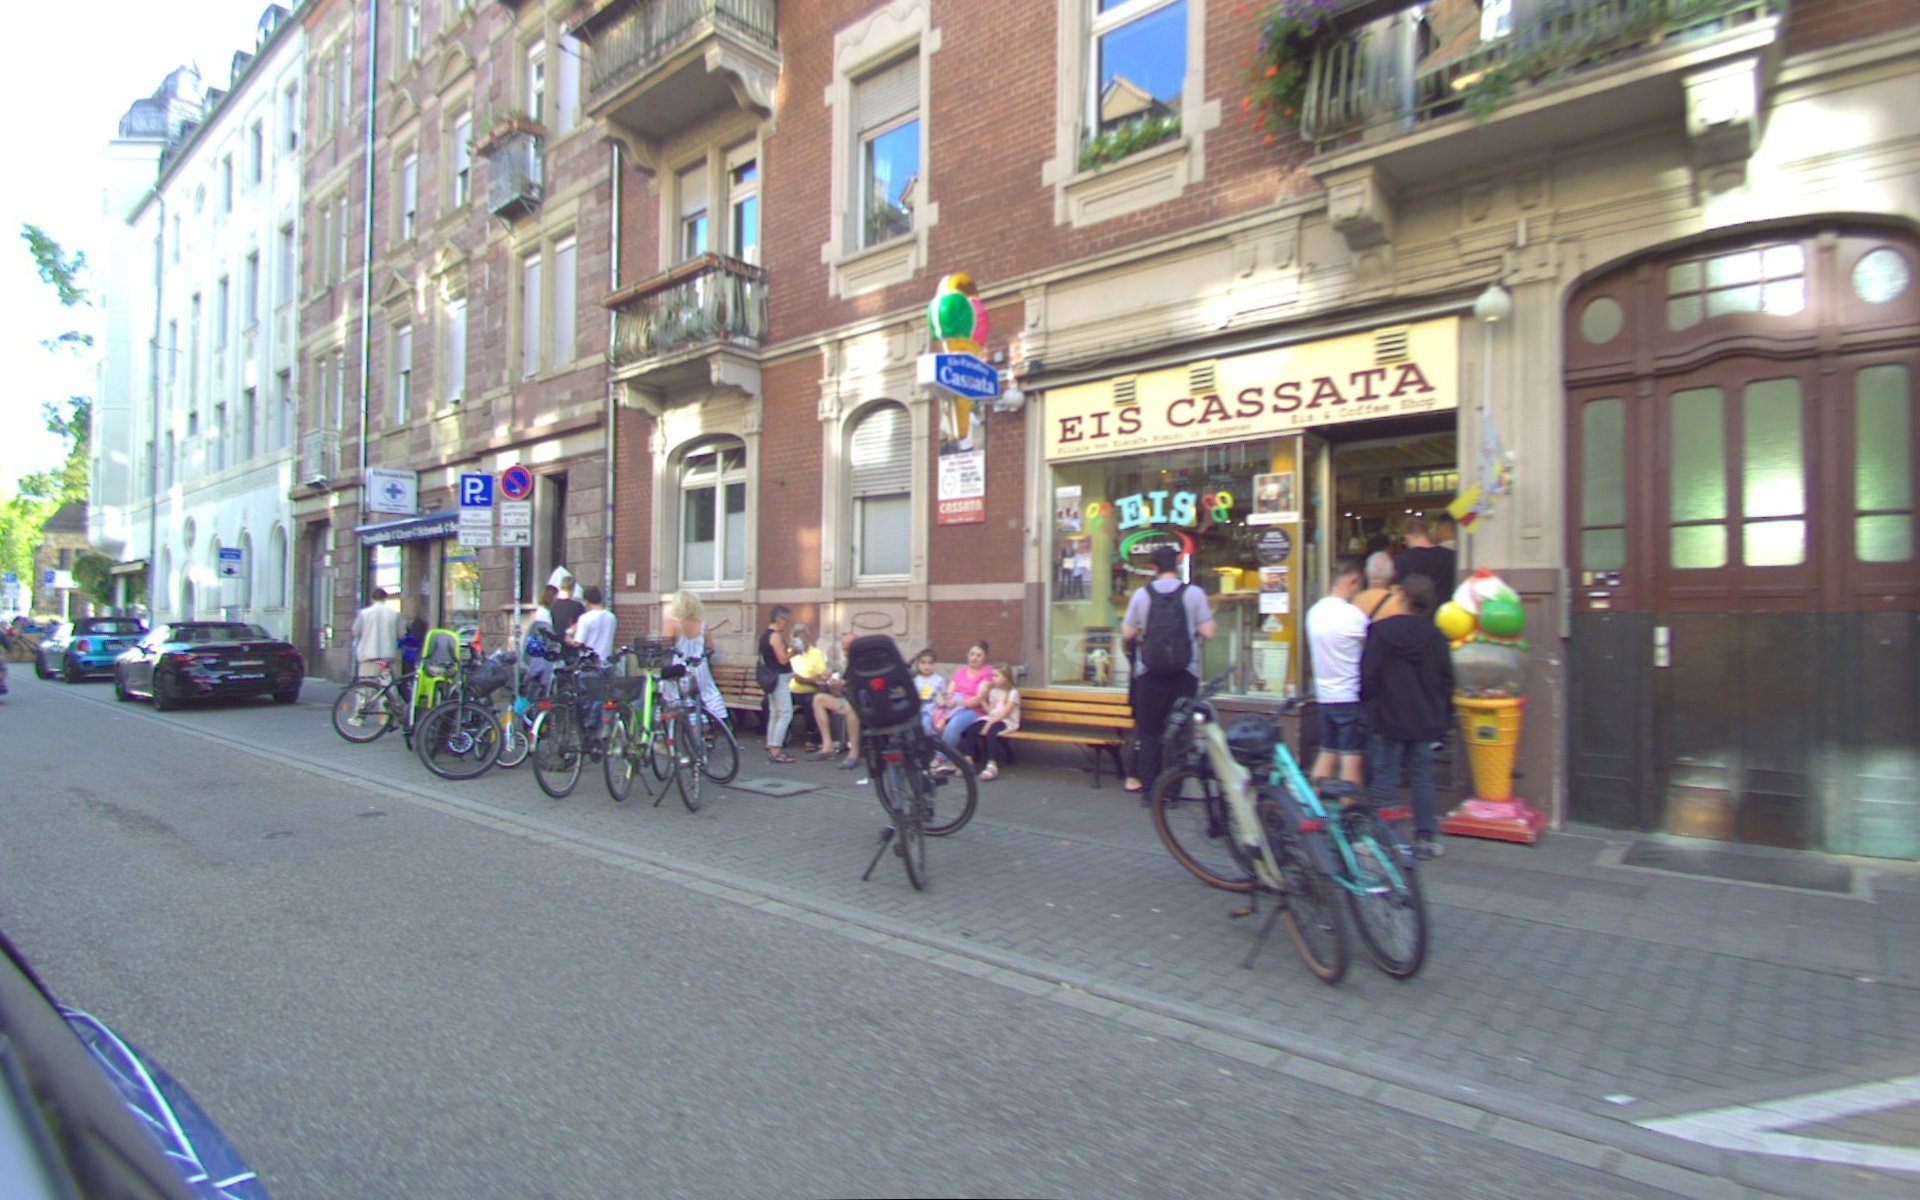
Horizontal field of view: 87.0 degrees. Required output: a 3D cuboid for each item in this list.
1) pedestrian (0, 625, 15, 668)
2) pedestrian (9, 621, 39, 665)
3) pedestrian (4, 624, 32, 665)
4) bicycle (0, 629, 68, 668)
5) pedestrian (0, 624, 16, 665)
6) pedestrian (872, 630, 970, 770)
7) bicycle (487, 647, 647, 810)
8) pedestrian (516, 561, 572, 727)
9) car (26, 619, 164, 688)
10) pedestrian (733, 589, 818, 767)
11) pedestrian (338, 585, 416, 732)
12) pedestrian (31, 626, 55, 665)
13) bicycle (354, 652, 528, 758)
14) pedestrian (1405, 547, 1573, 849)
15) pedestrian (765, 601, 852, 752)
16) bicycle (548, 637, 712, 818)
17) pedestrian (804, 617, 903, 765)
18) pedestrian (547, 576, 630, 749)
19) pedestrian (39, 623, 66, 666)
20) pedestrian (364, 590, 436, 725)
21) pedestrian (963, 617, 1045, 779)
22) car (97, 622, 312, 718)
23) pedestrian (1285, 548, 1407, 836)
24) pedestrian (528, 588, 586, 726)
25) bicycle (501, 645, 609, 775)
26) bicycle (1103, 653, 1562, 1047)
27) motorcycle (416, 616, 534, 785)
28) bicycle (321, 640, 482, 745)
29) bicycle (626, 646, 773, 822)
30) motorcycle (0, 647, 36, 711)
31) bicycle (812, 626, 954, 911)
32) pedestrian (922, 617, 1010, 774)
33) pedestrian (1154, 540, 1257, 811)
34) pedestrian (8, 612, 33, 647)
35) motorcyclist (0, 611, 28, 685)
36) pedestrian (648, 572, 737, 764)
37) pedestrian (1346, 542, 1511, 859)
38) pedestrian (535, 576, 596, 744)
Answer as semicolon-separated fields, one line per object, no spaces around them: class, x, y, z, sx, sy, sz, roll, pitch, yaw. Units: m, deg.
pedestrian;-30.995;1.488;32.637;0.644;1.359;0.729;-1;-1;44
pedestrian;-30.208;1.381;32.666;0.740;1.383;0.680;-1;-1;45
pedestrian;-31.242;1.469;33.570;0.658;1.346;0.740;0;-1;-42
bicycle;-29.387;1.522;31.889;0.688;1.184;1.848;-1;-1;43
pedestrian;-32.877;1.523;34.438;1.073;1.383;0.896;0;-1;-41
pedestrian;-0.355;0.888;9.282;0.585;1.206;0.701;-1;-1;37
bicycle;-3.128;0.982;8.212;0.583;1.129;1.568;-1;-1;5
pedestrian;-5.238;0.537;12.767;0.634;2.029;0.632;0;-1;-21
car;-19.931;1.164;23.263;4.006;1.426;1.654;-1;-1;38
pedestrian;-1.755;0.717;9.639;0.584;1.629;0.547;-1;-1;41
pedestrian;-7.520;0.730;13.082;0.750;1.832;0.668;0;-1;-19
pedestrian;-30.760;1.517;33.962;0.589;1.253;0.694;0;-1;-42
bicycle;-5.617;1.113;11.012;1.658;1.038;0.410;0;-1;-29
pedestrian;3.253;0.557;6.230;0.763;1.709;0.657;-1;-1;41
pedestrian;-1.561;0.754;10.370;0.597;1.481;0.727;0;-1;-38
bicycle;-2.528;0.921;7.968;0.583;1.209;1.788;-1;-1;5
pedestrian;-1.000;0.827;9.571;0.605;1.323;0.716;-1;-1;38
pedestrian;-4.013;0.648;10.915;0.596;1.765;0.947;0;-1;-36
pedestrian;-29.694;1.435;33.101;0.684;1.383;0.628;-1;-1;45
pedestrian;-7.602;0.761;13.768;0.750;1.773;0.668;0;-1;-19
pedestrian;0.383;0.809;8.713;0.372;1.323;0.694;-1;-1;37
car;-12.729;1.054;16.919;5.111;1.361;1.793;-1;-1;40
pedestrian;2.416;0.549;6.393;0.579;1.709;0.663;-1;-1;10
pedestrian;-5.341;0.735;13.437;0.678;1.773;0.668;0;-1;-19
bicycle;-3.961;1.011;9.819;0.570;1.098;1.742;0;-1;-36
bicycle;1.409;0.870;4.468;0.795;1.167;2.275;-1;-1;-12
motorcycle;-4.570;0.856;9.454;0.697;1.395;2.029;0;-1;-34
bicycle;-6.308;1.032;11.476;1.556;1.125;0.375;0;-1;-10
bicycle;-1.936;0.950;7.752;0.548;1.129;1.735;-1;-1;5
motorcycle;-16.630;1.323;17.246;2.493;1.003;0.787;-1;-1;35
bicycle;-0.380;0.832;5.715;0.521;1.332;1.674;-1;-1;5
pedestrian;0.056;0.813;8.963;0.439;1.323;0.711;-1;-1;37
pedestrian;1.777;0.529;7.418;0.658;1.868;0.761;-1;-1;10
pedestrian;-46.530;1.455;50.114;0.879;1.722;0.834;-1;-1;41
motorcyclist;-16.741;0.817;17.325;0.801;1.254;1.004;-1;-1;35
pedestrian;-2.594;0.631;9.789;0.597;1.765;0.727;0;-1;-38
pedestrian;2.645;0.543;5.766;0.638;1.709;0.565;-1;-1;-1
pedestrian;-4.639;0.685;11.932;0.637;1.906;0.603;0;-1;-19
